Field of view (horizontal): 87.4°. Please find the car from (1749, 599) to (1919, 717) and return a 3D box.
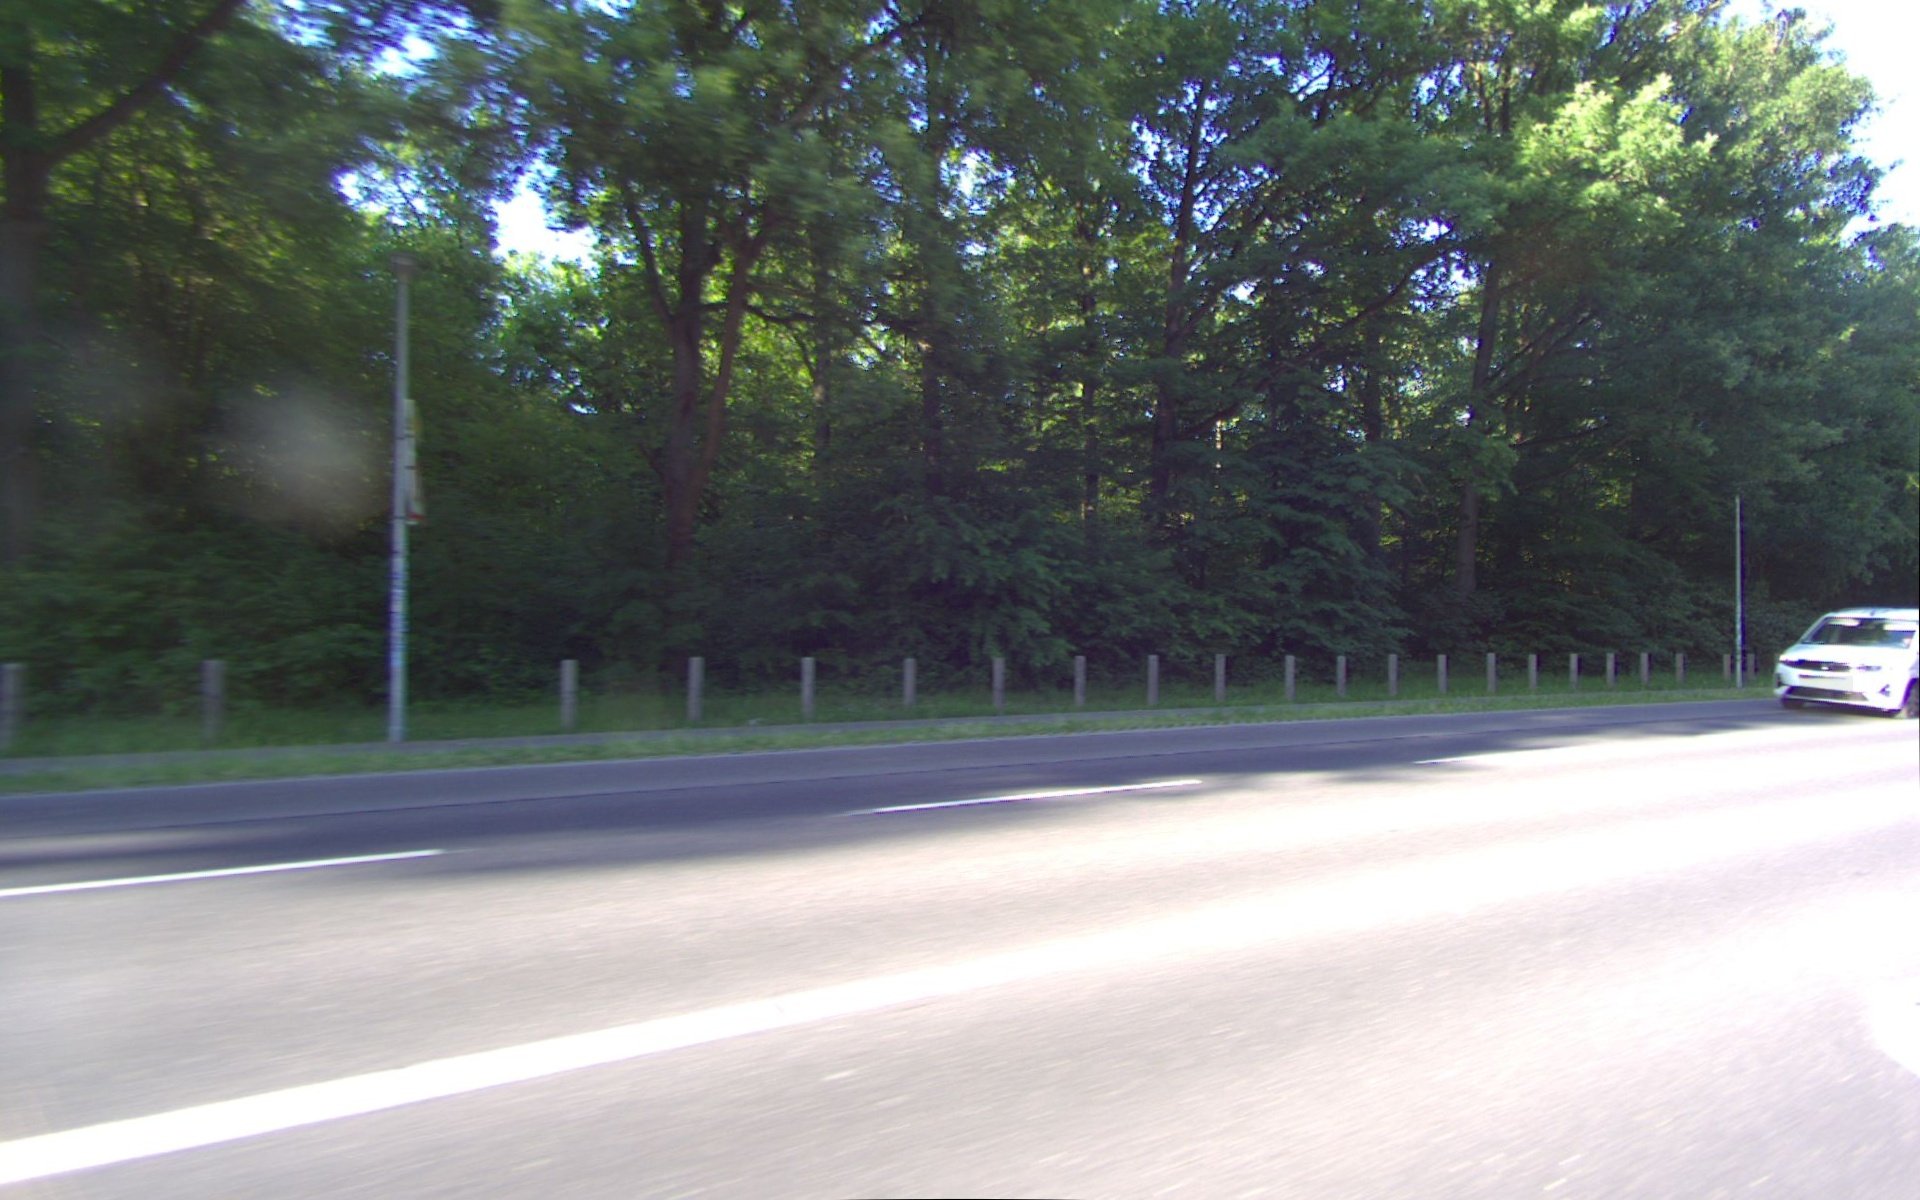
[{"bbox_3d":[16.631,0.990,18.124,4.939,1.850,1.992,2,1,-29],"label":"car"}]
